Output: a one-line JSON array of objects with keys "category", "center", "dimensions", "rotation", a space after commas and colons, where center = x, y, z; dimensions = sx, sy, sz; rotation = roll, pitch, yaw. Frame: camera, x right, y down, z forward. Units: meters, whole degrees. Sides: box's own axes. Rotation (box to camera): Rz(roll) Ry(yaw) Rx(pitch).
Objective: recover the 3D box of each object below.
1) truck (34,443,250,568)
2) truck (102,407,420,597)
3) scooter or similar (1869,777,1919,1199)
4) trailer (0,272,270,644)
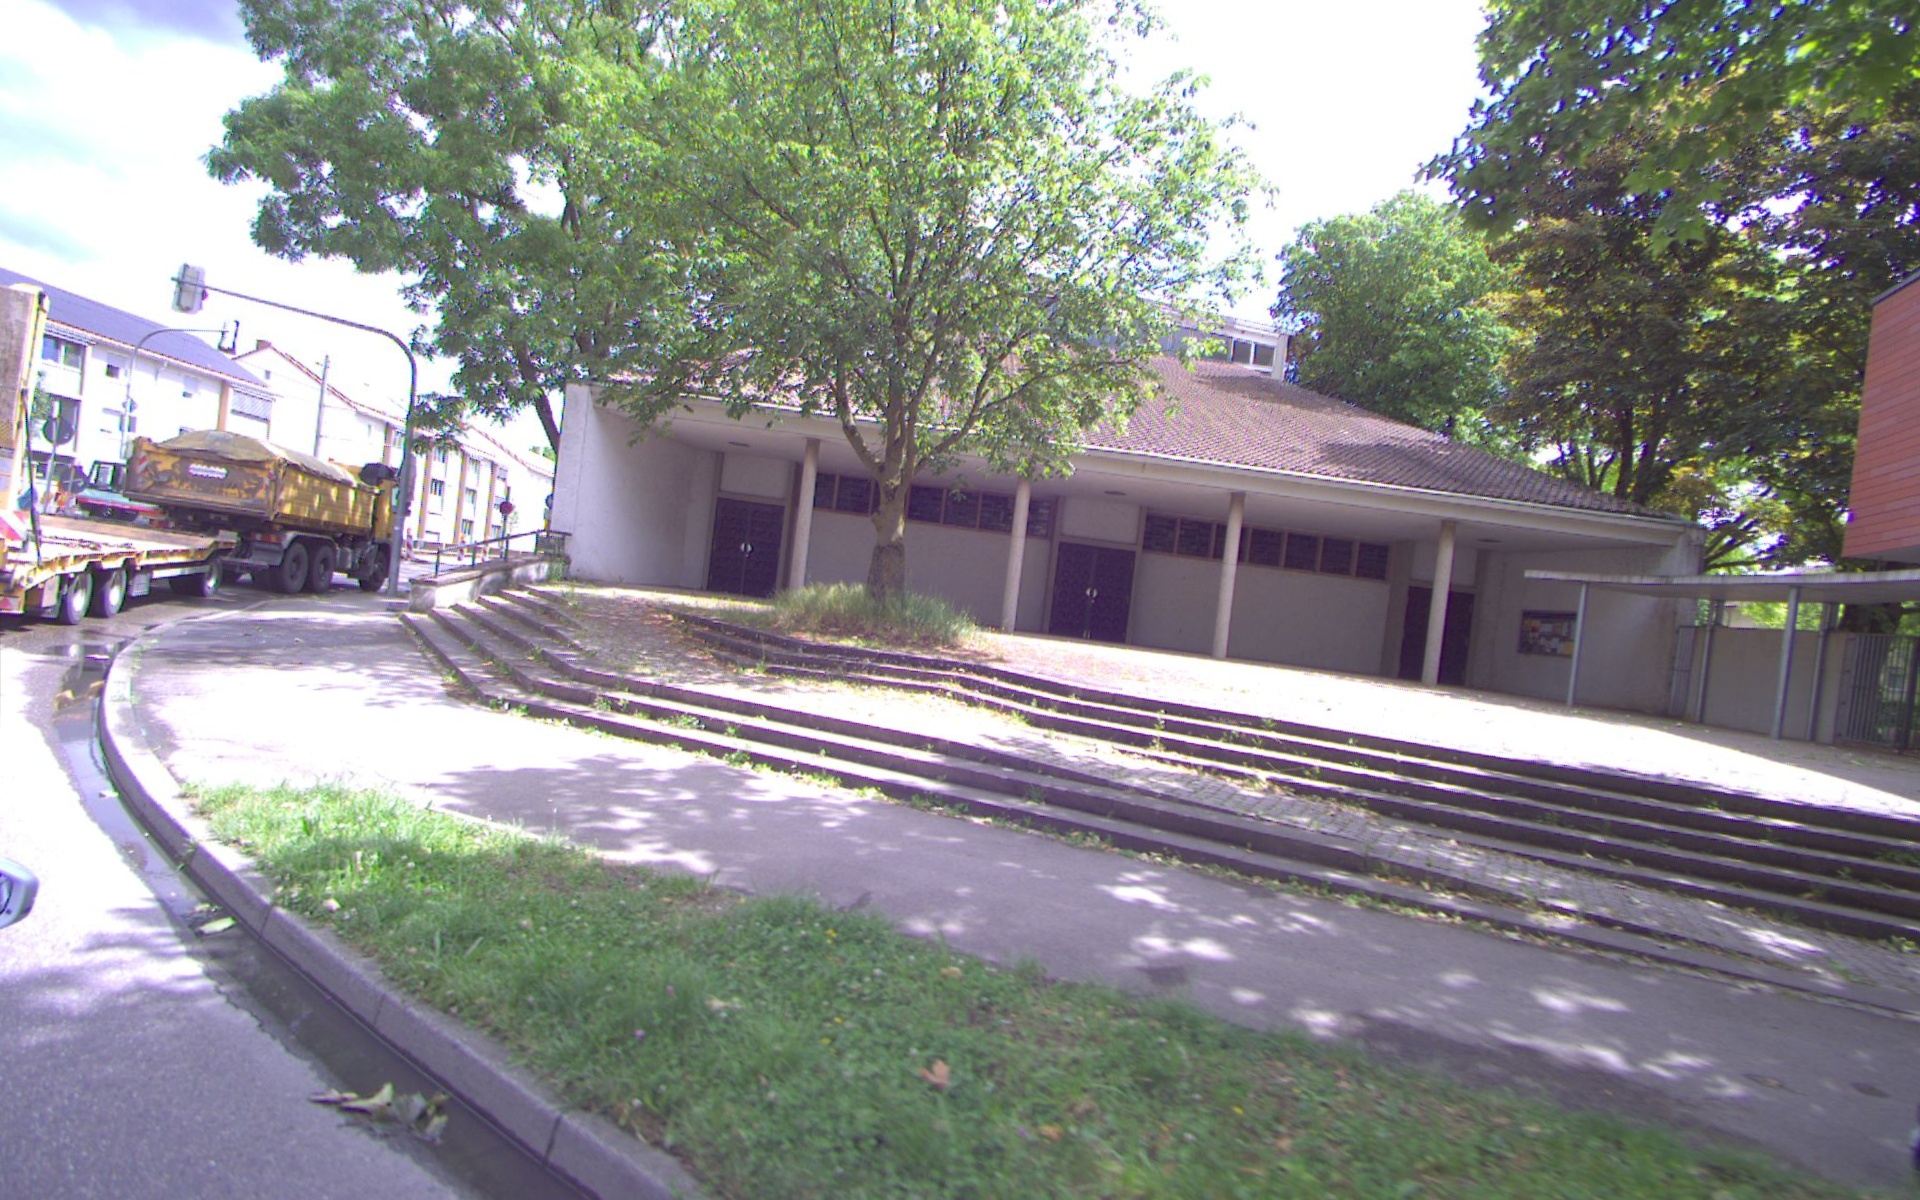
[{"category": "truck", "center": [-23.057, -2.544, 28.802], "dimensions": [2.635, 2.758, 6.363], "rotation": [8, 0, -21]}, {"category": "truck", "center": [-15.532, -1.966, 23.264], "dimensions": [2.880, 3.205, 7.661], "rotation": [9, 0, -11]}, {"category": "scooter or similar", "center": [3.255, 1.121, 2.572], "dimensions": [1.175, 1.248, 0.564], "rotation": [7, 1, 33]}, {"category": "trailer", "center": [-12.715, -1.770, 14.260], "dimensions": [2.800, 3.564, 10.980], "rotation": [9, -1, -26]}]
